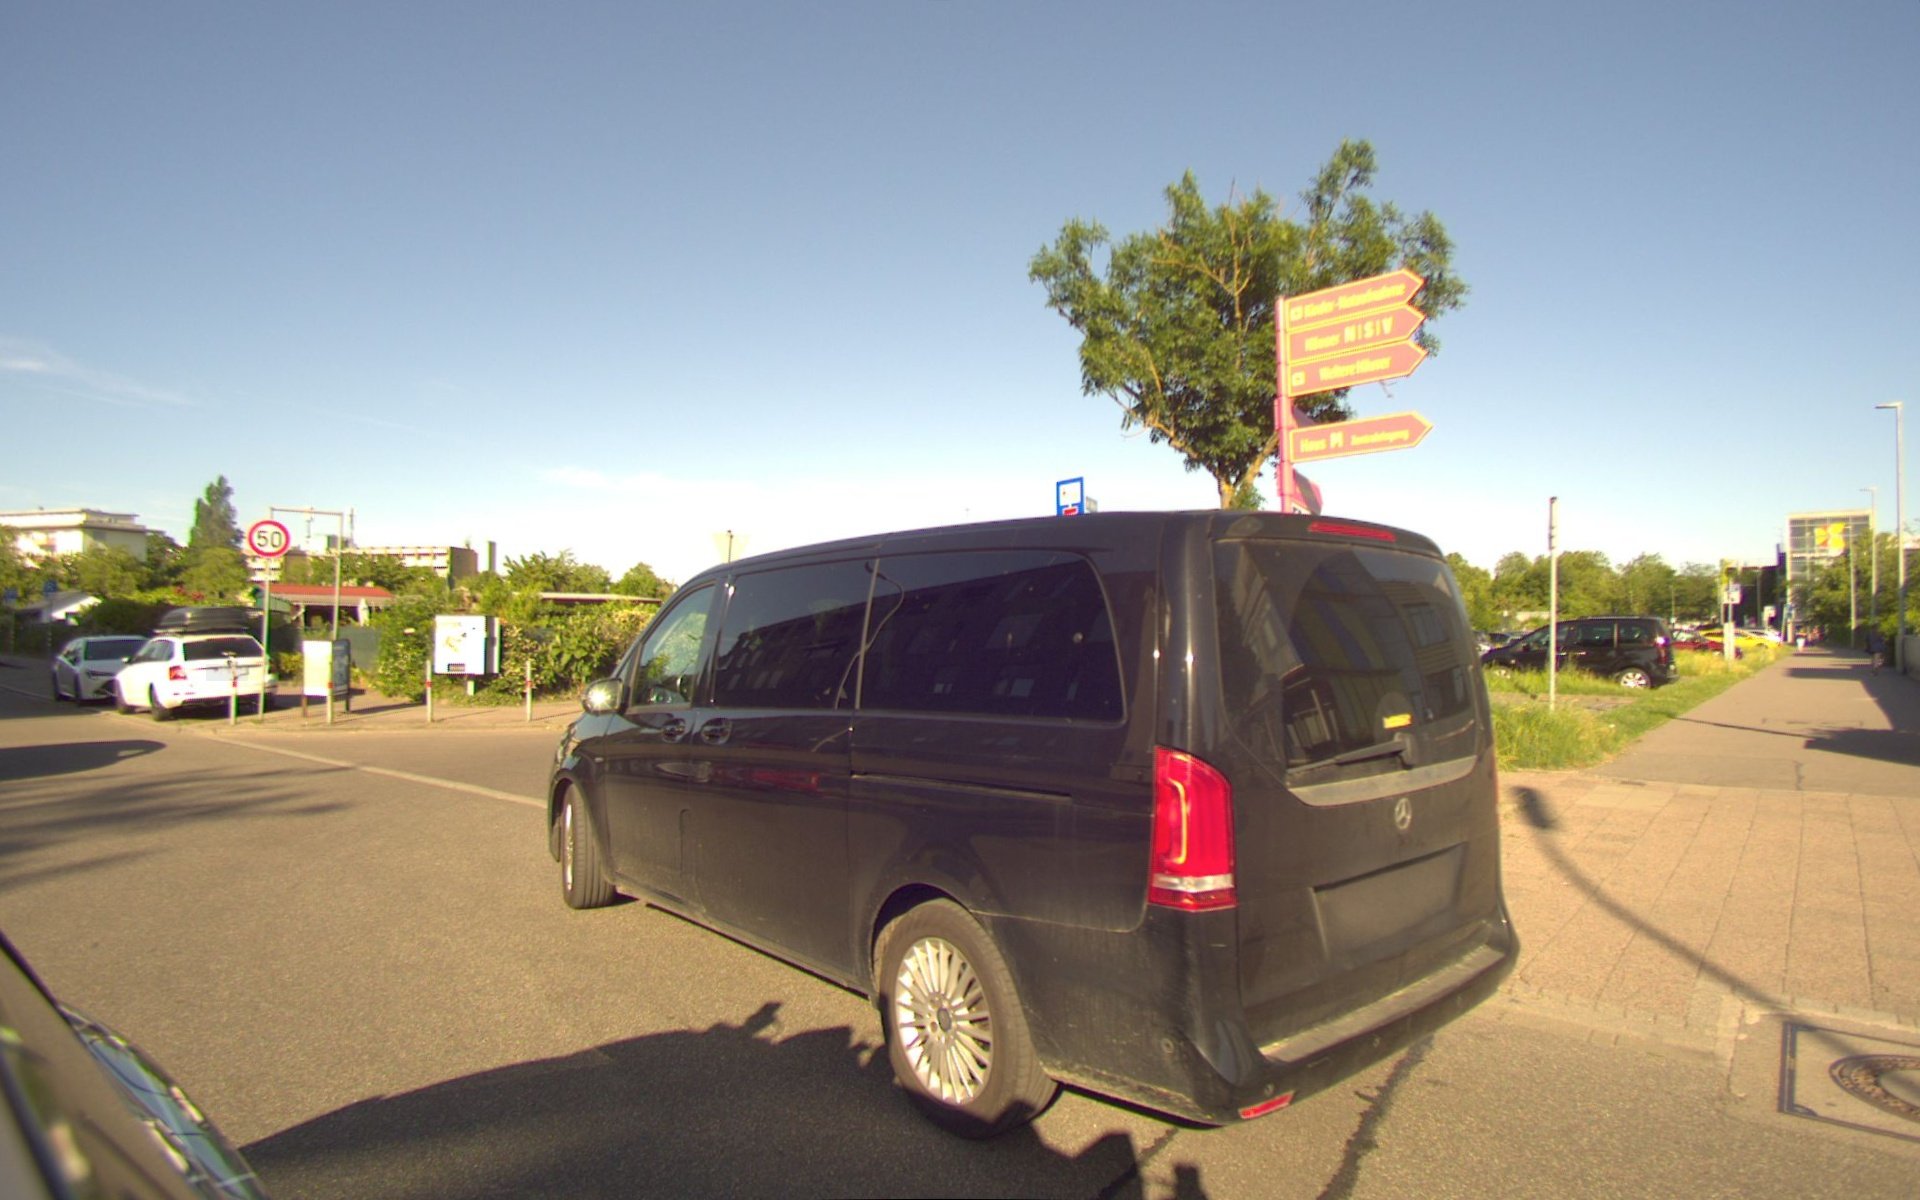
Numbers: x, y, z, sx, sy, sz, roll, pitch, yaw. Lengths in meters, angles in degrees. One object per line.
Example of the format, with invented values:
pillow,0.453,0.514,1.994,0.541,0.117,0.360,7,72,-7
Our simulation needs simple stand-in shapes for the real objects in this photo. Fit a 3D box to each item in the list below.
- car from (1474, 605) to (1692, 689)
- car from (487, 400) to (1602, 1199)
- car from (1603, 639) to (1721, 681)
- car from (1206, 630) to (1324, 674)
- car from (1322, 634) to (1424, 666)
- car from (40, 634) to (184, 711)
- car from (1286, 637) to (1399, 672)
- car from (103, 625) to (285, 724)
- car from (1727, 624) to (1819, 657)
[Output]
car,14.566,1.083,23.830,1.488,1.803,4.107,2,-3,-44
car,-0.347,0.614,4.688,1.931,1.882,5.262,2,-3,-41
car,30.189,2.540,43.559,3.998,1.714,1.973,-2,-2,41
car,11.041,1.860,36.815,1.488,1.496,3.849,2,-3,-44
car,17.778,2.150,43.648,3.842,1.273,1.491,-1,-5,39
car,-18.995,1.531,22.593,4.538,1.457,1.729,-2,1,41
car,14.793,2.068,39.218,3.842,1.273,1.491,-2,-2,39
car,-14.039,1.282,18.456,4.513,1.525,1.679,-2,0,40
car,51.210,2.524,63.779,4.393,2.029,1.972,-2,-2,43
